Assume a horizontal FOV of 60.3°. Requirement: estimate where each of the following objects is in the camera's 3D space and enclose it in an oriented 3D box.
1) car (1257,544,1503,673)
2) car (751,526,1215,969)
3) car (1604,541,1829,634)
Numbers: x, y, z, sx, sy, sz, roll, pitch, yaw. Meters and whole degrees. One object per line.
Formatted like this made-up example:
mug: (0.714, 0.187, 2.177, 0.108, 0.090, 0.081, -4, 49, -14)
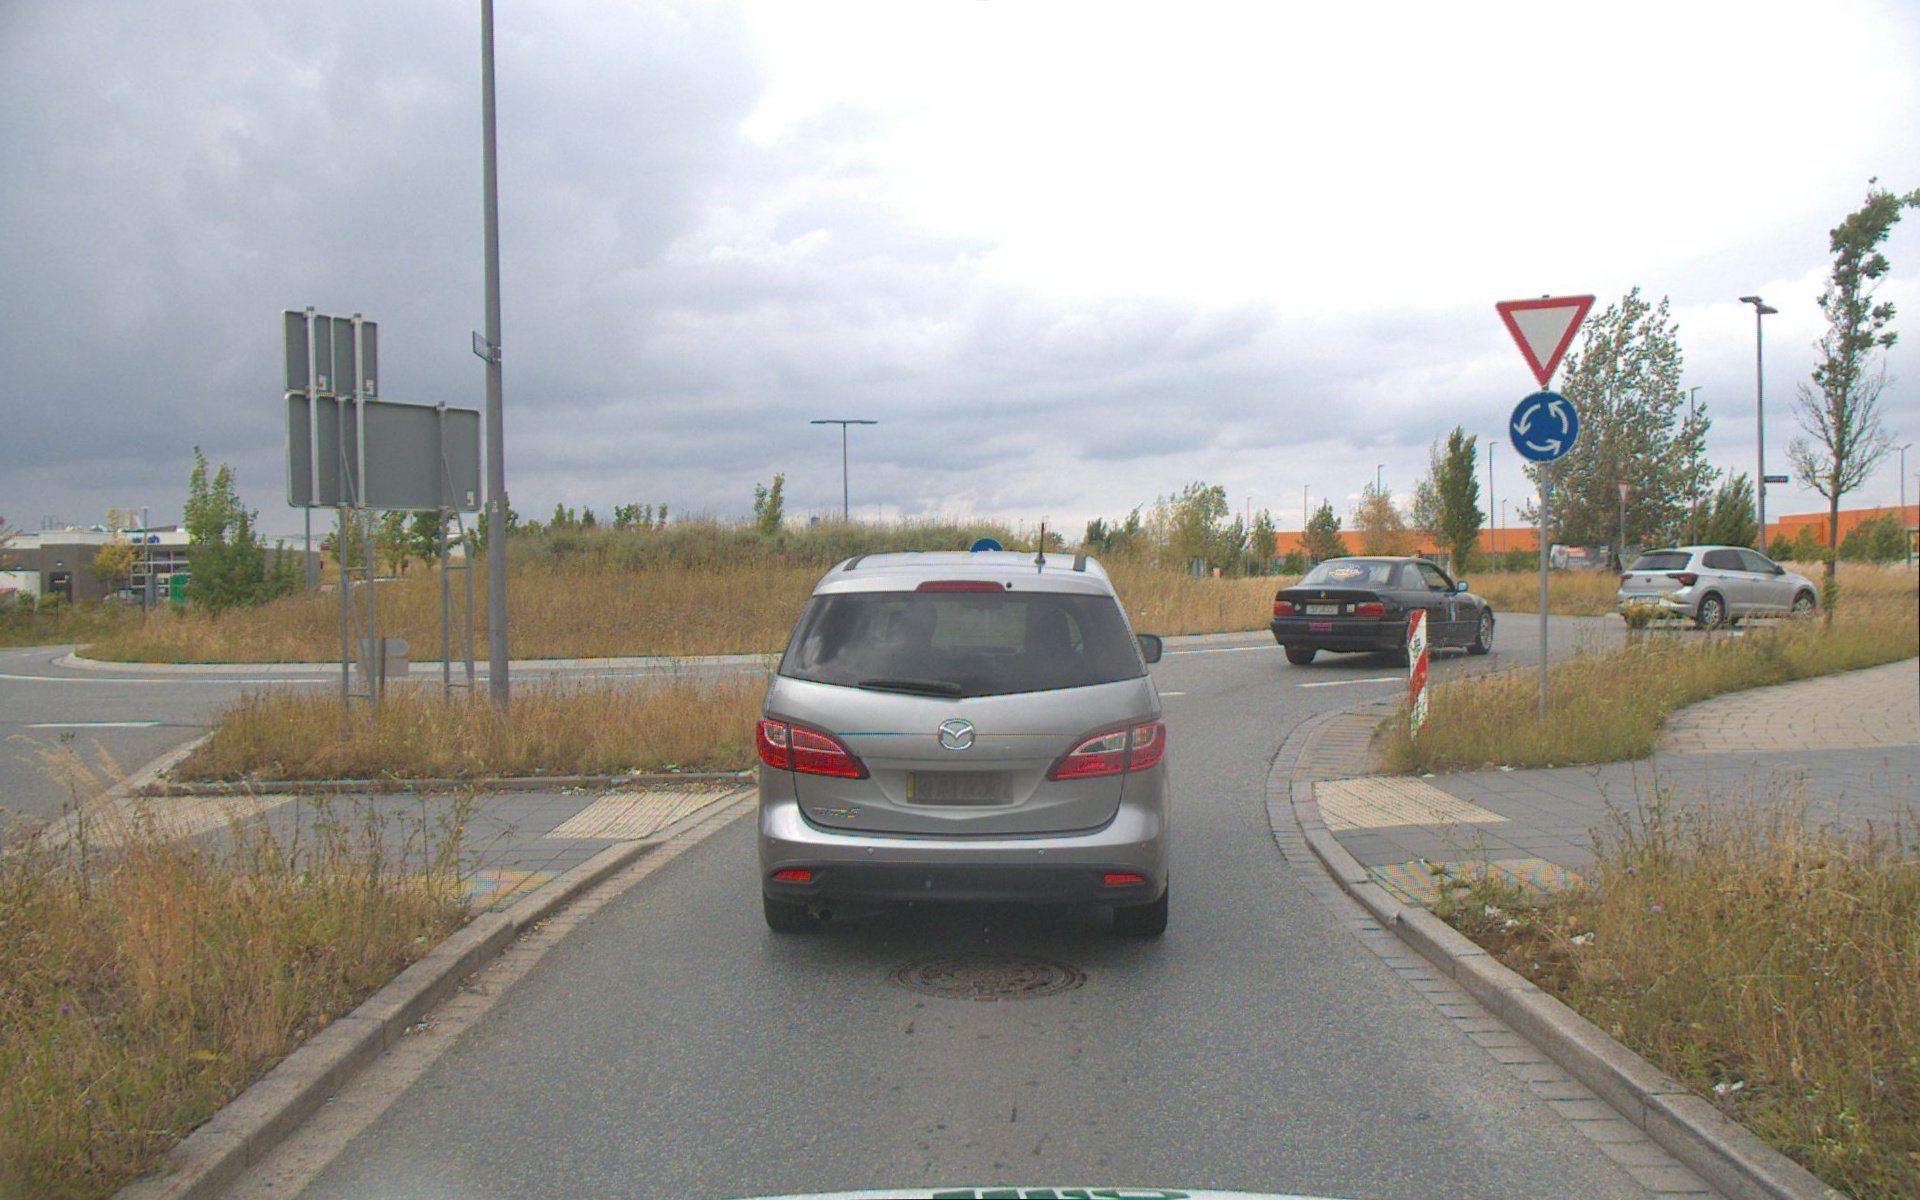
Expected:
car: (5.530, 0.032, 21.478, 1.709, 1.428, 3.982, 2, 4, 37)
car: (0.022, 0.515, 8.113, 1.703, 1.626, 3.996, 1, 1, -2)
car: (13.682, -0.274, 29.882, 3.947, 1.489, 1.795, -2, 4, -31)
